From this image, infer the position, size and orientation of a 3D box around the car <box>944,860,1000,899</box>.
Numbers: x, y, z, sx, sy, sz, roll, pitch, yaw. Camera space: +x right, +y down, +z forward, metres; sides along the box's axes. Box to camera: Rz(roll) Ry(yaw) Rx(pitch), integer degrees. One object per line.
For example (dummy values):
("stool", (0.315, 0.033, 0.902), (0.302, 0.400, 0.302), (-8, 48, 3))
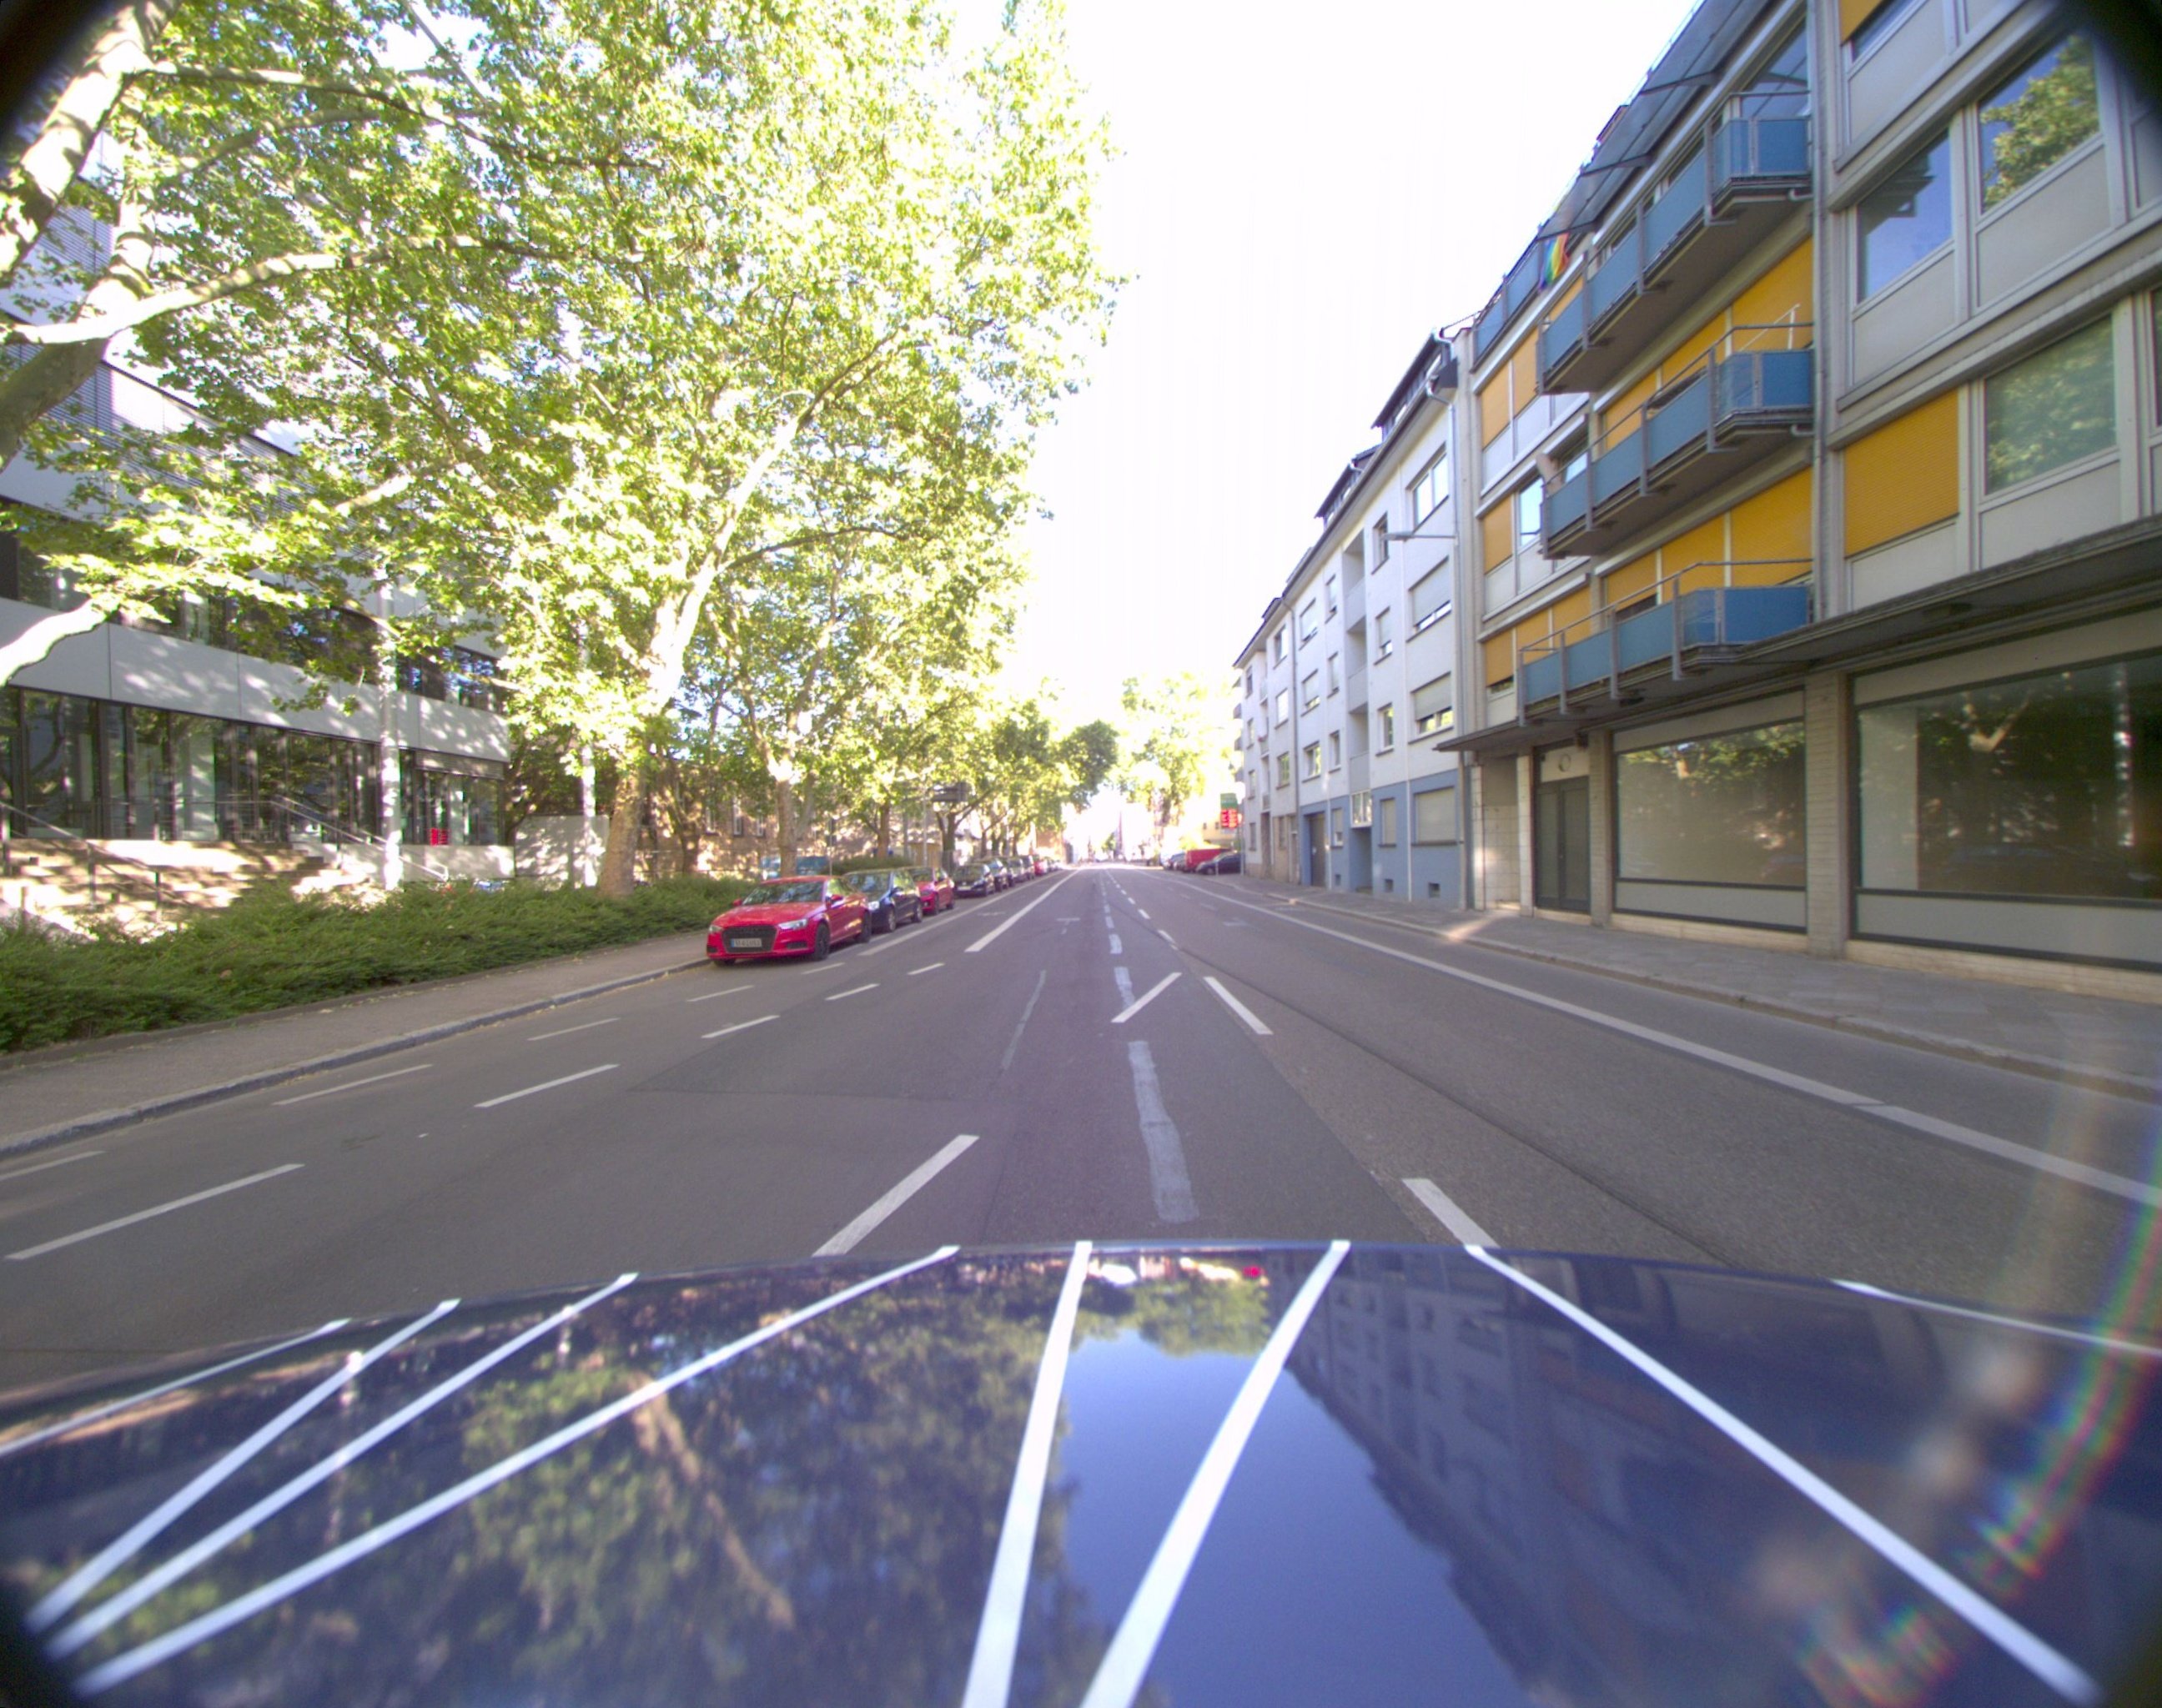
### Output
("car", (-4.710, 1.077, 33.380), (1.790, 1.451, 4.163), (-3, 0, 0))

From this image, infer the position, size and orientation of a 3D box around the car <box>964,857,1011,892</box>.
("car", (-4.609, 0.978, 38.126), (1.790, 1.544, 4.163), (-3, 0, 0))

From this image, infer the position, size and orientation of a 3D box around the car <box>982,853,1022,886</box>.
("car", (-4.533, 0.868, 44.142), (1.790, 1.745, 4.345), (-3, 0, 0))

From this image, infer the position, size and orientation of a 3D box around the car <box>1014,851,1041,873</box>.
("car", (-4.603, 0.699, 66.087), (2.042, 1.745, 4.552), (-3, 0, 0))

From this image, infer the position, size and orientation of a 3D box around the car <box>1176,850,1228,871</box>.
("car", (9.967, 0.521, 62.840), (3.996, 1.494, 1.761), (-2, 1, 2))

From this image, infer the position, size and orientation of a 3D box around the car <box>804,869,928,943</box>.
("car", (-5.088, 1.169, 18.570), (1.818, 1.405, 4.163), (-3, 0, 0))

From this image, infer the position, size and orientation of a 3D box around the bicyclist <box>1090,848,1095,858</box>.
("bicyclist", (1.731, -0.187, 117.352), (0.718, 1.573, 0.936), (-2, 1, 1))

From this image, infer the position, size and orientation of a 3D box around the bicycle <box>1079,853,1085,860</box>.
("bicycle", (0.164, 0.365, 117.571), (0.717, 1.052, 2.485), (-2, 1, 1))

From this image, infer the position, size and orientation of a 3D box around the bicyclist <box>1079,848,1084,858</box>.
("bicyclist", (0.145, -0.128, 117.581), (0.718, 1.573, 0.936), (-2, 1, 1))

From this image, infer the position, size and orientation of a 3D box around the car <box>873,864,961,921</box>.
("car", (-5.036, 1.124, 23.853), (1.818, 1.475, 4.163), (-3, 0, 0))

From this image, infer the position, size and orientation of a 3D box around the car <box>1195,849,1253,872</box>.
("car", (10.717, 0.474, 57.138), (3.996, 1.494, 1.761), (-2, 1, 2))

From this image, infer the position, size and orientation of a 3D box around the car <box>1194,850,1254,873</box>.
("car", (10.244, 0.541, 54.791), (3.996, 1.449, 1.761), (-2, 1, 2))

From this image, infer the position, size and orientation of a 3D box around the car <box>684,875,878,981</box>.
("car", (-5.143, 1.192, 13.714), (1.818, 1.405, 4.163), (-3, 0, 0))

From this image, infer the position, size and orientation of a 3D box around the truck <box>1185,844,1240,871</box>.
("truck", (10.357, 0.240, 59.987), (3.996, 1.925, 1.761), (-2, 1, 2))

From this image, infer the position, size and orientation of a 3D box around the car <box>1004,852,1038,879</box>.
("car", (-4.327, 0.796, 55.656), (2.042, 1.745, 4.552), (-3, 0, 0))

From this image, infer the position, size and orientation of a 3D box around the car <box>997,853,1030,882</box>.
("car", (-4.455, 0.852, 50.698), (1.790, 1.745, 4.552), (-3, 0, 0))

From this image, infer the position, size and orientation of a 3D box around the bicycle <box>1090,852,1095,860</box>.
("bicycle", (1.770, 0.292, 117.501), (0.717, 1.052, 2.485), (-2, 1, 1))
